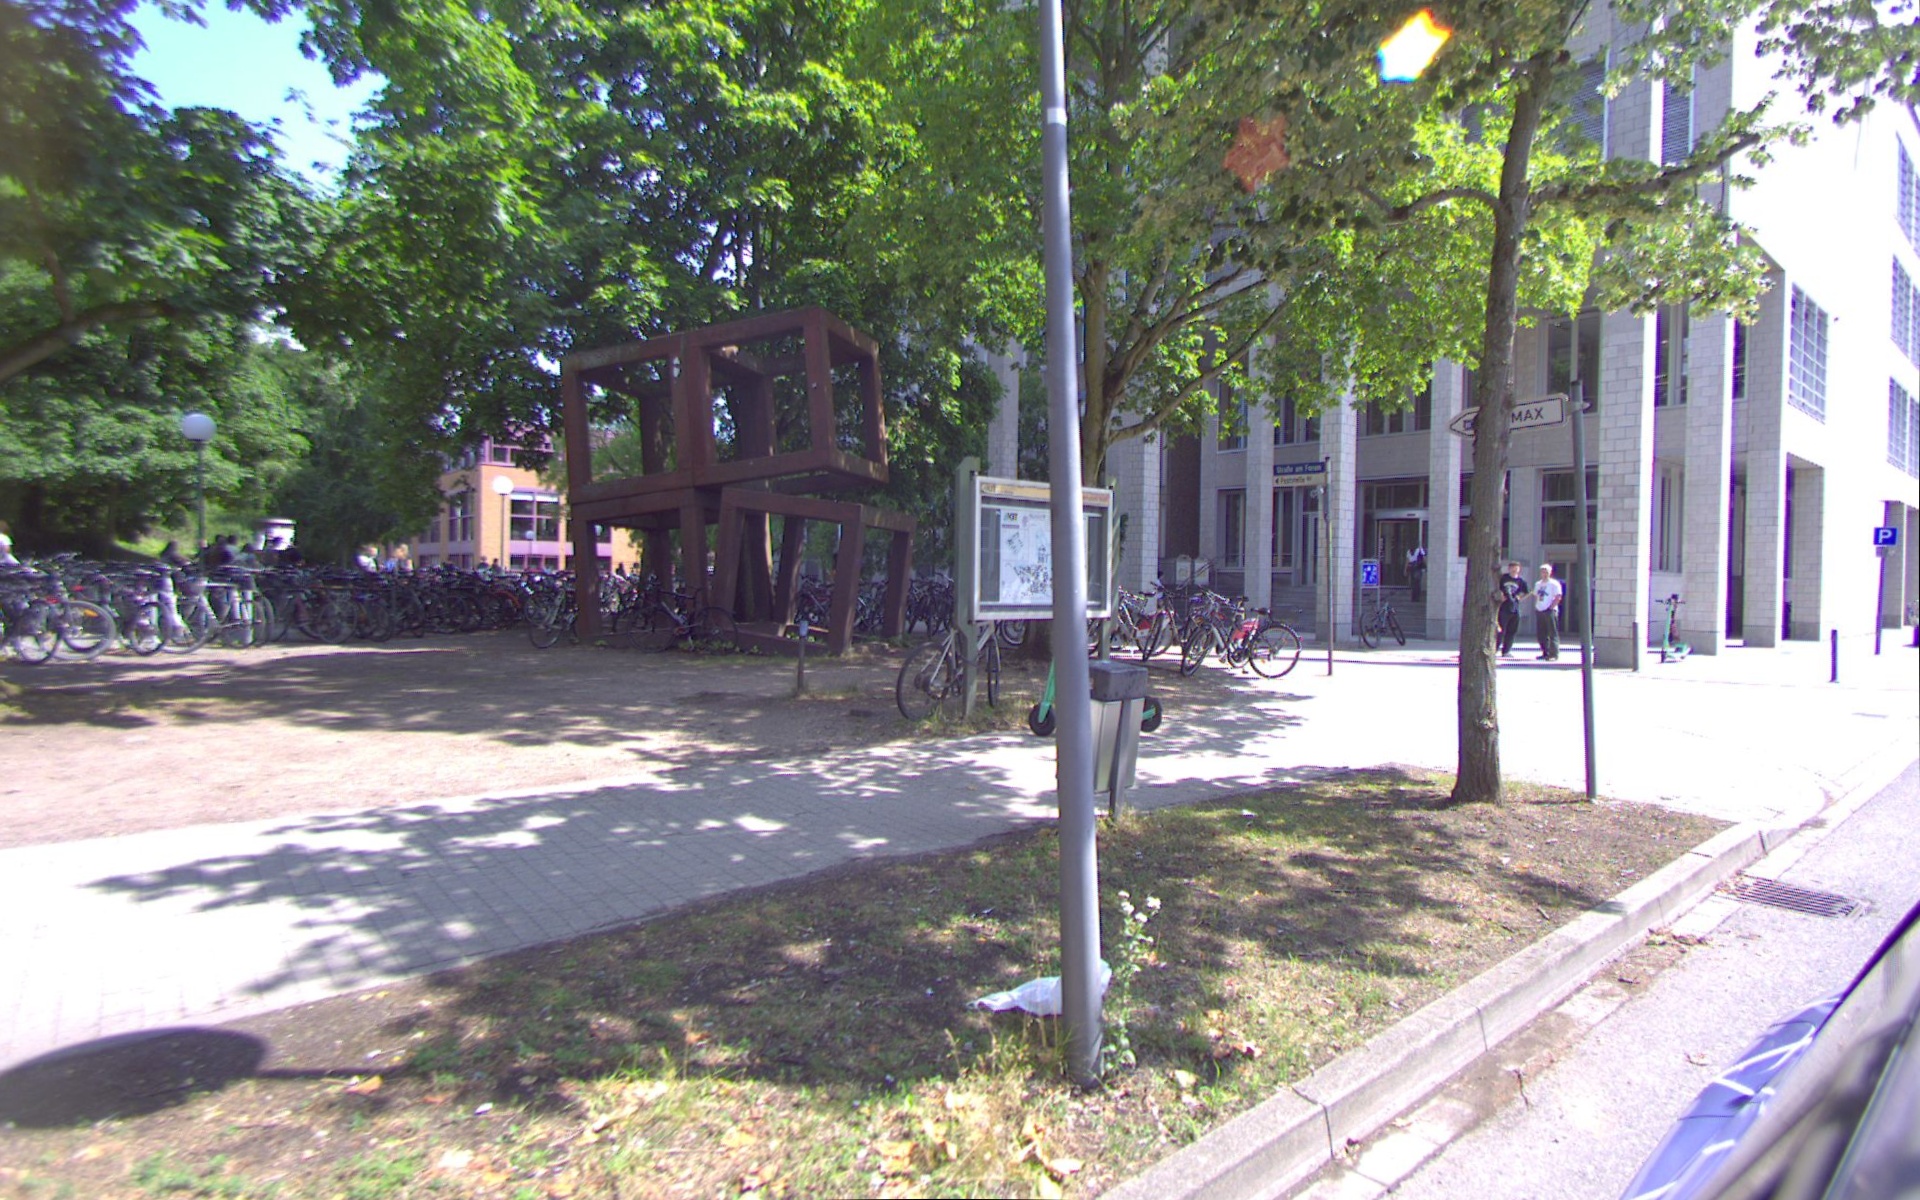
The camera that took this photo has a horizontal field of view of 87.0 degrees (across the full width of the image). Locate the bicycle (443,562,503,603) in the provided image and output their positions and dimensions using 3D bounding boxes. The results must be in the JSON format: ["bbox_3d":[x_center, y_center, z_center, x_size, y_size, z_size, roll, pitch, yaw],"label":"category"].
[{"bbox_3d":[-13.353,-0.475,27.758,1.441,1.098,0.353,0,-1,-12],"label":"bicycle"}]

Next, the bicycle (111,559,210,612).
[{"bbox_3d":[-15.999,-0.295,20.264,1.769,0.991,0.378,2,2,4],"label":"bicycle"}]

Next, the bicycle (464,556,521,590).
[{"bbox_3d":[-15.539,-0.900,33.671,1.655,1.098,0.479,0,-1,-3],"label":"bicycle"}]

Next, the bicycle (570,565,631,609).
[{"bbox_3d":[-9.197,-0.324,25.935,1.447,1.097,0.352,0,2,-44],"label":"bicycle"}]

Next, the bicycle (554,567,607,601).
[{"bbox_3d":[-13.247,-0.548,35.343,0.549,1.165,1.661,-1,-2,45],"label":"bicycle"}]

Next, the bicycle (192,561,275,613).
[{"bbox_3d":[-15.586,-0.263,21.720,1.442,1.098,0.353,0,-1,-6],"label":"bicycle"}]

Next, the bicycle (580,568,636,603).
[{"bbox_3d":[-11.495,-0.451,33.111,0.527,1.097,1.661,-1,-2,45],"label":"bicycle"}]

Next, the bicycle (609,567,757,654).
[{"bbox_3d":[-3.802,0.125,13.906,1.896,1.123,0.630,1,2,14],"label":"bicycle"}]

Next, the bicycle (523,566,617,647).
[{"bbox_3d":[-5.791,0.061,15.124,0.468,1.123,1.664,1,2,13],"label":"bicycle"}]

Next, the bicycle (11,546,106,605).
[{"bbox_3d":[-16.066,-0.444,18.045,1.571,0.991,0.403,2,2,11],"label":"bicycle"}]

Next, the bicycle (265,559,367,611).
[{"bbox_3d":[-13.178,-0.308,20.723,1.871,0.991,0.478,2,2,6],"label":"bicycle"}]

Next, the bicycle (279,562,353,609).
[{"bbox_3d":[-15.510,-0.349,24.391,1.441,1.098,0.353,1,-1,-14],"label":"bicycle"}]

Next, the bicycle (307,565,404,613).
[{"bbox_3d":[-13.341,-0.241,22.368,1.868,0.991,0.479,2,2,1],"label":"bicycle"}]

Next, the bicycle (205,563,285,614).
[{"bbox_3d":[-15.822,-0.253,22.417,1.442,1.098,0.353,0,-1,-6],"label":"bicycle"}]

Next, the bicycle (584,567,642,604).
[{"bbox_3d":[-10.743,-0.424,31.376,0.477,1.097,1.661,-1,-2,45],"label":"bicycle"}]

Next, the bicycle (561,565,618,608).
[{"bbox_3d":[-9.775,-0.348,26.715,0.351,1.097,1.452,2,1,37],"label":"bicycle"}]

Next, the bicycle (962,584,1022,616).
[{"bbox_3d":[0.960,0.008,30.469,1.739,0.911,0.449,1,0,-22],"label":"bicycle"}]

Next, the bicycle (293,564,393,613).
[{"bbox_3d":[-13.243,-0.253,21.739,1.868,0.991,0.479,2,2,1],"label":"bicycle"}]

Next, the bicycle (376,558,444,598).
[{"bbox_3d":[-15.597,-0.612,28.704,1.656,1.098,0.479,0,-1,-1],"label":"bicycle"}]

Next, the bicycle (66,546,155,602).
[{"bbox_3d":[-16.067,-0.506,19.150,1.571,0.991,0.403,2,2,11],"label":"bicycle"}]

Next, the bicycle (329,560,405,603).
[{"bbox_3d":[-15.487,-0.476,26.445,1.654,1.098,0.479,0,-1,-8],"label":"bicycle"}]

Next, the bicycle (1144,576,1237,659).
[{"bbox_3d":[3.433,0.255,15.027,1.464,1.155,0.560,2,2,-43],"label":"bicycle"}]

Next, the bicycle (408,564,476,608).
[{"bbox_3d":[-13.052,-0.349,25.538,1.442,1.098,0.479,0,-1,-7],"label":"bicycle"}]

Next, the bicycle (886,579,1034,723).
[{"bbox_3d":[0.046,0.395,9.016,0.622,1.097,1.674,0,3,27],"label":"bicycle"}]

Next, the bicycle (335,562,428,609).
[{"bbox_3d":[-13.273,-0.341,23.246,1.868,0.991,0.479,2,2,1],"label":"bicycle"}]

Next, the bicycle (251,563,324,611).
[{"bbox_3d":[-15.549,-0.294,23.408,1.444,1.098,0.352,0,-1,1],"label":"bicycle"}]

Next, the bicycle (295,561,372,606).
[{"bbox_3d":[-15.604,-0.405,25.235,1.658,1.098,0.478,0,-1,5],"label":"bicycle"}]

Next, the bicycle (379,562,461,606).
[{"bbox_3d":[-13.009,-0.389,24.379,1.875,0.991,0.477,2,2,13],"label":"bicycle"}]

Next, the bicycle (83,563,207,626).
[{"bbox_3d":[-13.862,-0.111,17.223,1.871,0.991,0.478,2,2,7],"label":"bicycle"}]

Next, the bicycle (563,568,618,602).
[{"bbox_3d":[-12.472,-0.482,34.190,0.527,1.097,1.661,-1,-2,45],"label":"bicycle"}]

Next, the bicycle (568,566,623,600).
[{"bbox_3d":[-12.080,-0.555,33.542,1.654,1.097,0.529,1,-1,-30],"label":"bicycle"}]

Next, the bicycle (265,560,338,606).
[{"bbox_3d":[-16.033,-0.397,24.665,1.441,1.098,0.353,0,-1,-10],"label":"bicycle"}]

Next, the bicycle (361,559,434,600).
[{"bbox_3d":[-15.416,-0.548,27.759,1.654,1.098,0.479,0,-1,-8],"label":"bicycle"}]

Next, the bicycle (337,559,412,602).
[{"bbox_3d":[-15.554,-0.508,26.926,1.654,1.098,0.479,0,-1,-8],"label":"bicycle"}]

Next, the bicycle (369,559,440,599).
[{"bbox_3d":[-15.485,-0.581,28.241,1.654,1.098,0.479,0,-1,-8],"label":"bicycle"}]

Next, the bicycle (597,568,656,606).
[{"bbox_3d":[-10.121,-0.375,30.721,0.477,1.097,1.661,-1,-2,45],"label":"bicycle"}]

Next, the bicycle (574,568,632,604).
[{"bbox_3d":[-11.209,-0.435,31.820,0.527,1.097,1.661,-1,-2,45],"label":"bicycle"}]

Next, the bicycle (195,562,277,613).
[{"bbox_3d":[-15.778,-0.261,22.061,1.442,1.098,0.353,0,-1,-6],"label":"bicycle"}]

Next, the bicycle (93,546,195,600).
[{"bbox_3d":[-16.023,-0.542,19.877,1.769,0.991,0.378,2,2,4],"label":"bicycle"}]

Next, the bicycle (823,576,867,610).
[{"bbox_3d":[-4.038,-0.246,35.436,0.560,1.117,1.830,2,0,-42],"label":"bicycle"}]

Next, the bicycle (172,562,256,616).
[{"bbox_3d":[-15.551,-0.225,21.110,1.442,1.097,0.353,0,-1,-5],"label":"bicycle"}]

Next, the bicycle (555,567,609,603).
[{"bbox_3d":[-12.966,-0.497,34.778,0.549,1.165,1.661,-1,-2,45],"label":"bicycle"}]

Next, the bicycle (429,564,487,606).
[{"bbox_3d":[-13.232,-0.394,26.679,1.451,1.098,0.451,0,-1,16],"label":"bicycle"}]

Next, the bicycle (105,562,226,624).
[{"bbox_3d":[-13.817,-0.126,17.603,1.871,0.991,0.478,2,2,7],"label":"bicycle"}]

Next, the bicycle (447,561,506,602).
[{"bbox_3d":[-13.436,-0.503,28.148,1.441,1.098,0.353,0,-1,-12],"label":"bicycle"}]

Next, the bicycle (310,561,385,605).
[{"bbox_3d":[-15.565,-0.430,25.714,1.658,1.098,0.478,0,-1,5],"label":"bicycle"}]

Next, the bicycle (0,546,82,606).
[{"bbox_3d":[-16.147,-0.426,17.644,1.571,0.991,0.403,2,2,11],"label":"bicycle"}]

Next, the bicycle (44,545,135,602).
[{"bbox_3d":[-16.143,-0.491,18.762,1.571,0.991,0.403,2,2,11],"label":"bicycle"}]
